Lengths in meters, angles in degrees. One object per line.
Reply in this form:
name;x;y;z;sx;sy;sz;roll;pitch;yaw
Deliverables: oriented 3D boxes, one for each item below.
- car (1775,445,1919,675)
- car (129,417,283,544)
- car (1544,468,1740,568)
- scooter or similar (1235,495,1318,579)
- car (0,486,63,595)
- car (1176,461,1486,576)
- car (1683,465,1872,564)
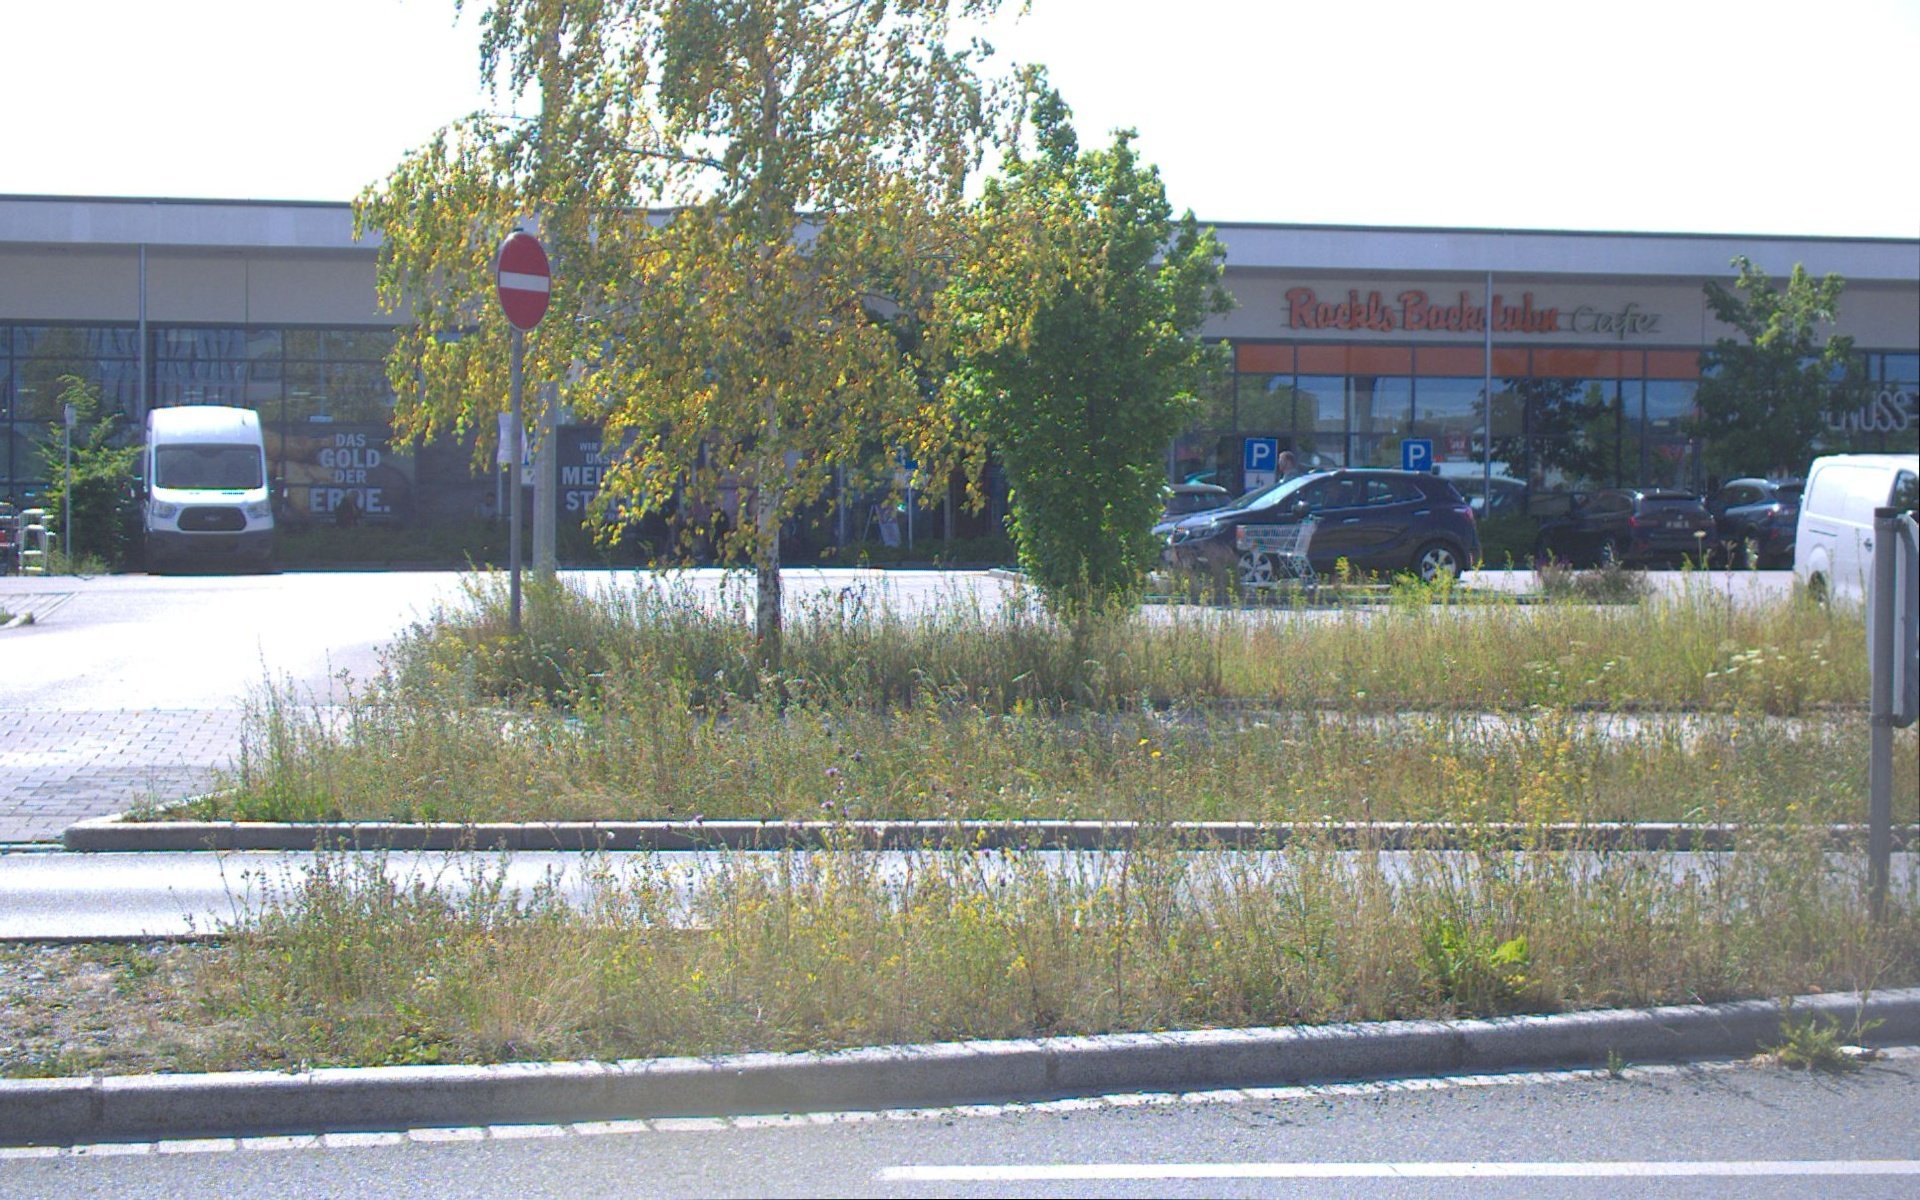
car;9.366;-0.409;31.890;2.080;2.006;5.230;1;2;-3
car;-12.595;-2.006;57.117;2.222;1.970;6.699;0;2;-15
car;12.121;-1.485;61.359;1.993;1.701;4.002;0;2;-12
scooter or similar;4.099;-0.818;44.530;0.943;1.075;0.652;0;2;-6
car;-13.783;-0.815;45.191;3.831;1.418;1.773;1;2;-14
car;4.981;-1.112;46.373;3.792;1.503;1.732;0;2;-10
car;14.715;-1.570;62.093;1.993;1.701;4.001;0;2;-8
